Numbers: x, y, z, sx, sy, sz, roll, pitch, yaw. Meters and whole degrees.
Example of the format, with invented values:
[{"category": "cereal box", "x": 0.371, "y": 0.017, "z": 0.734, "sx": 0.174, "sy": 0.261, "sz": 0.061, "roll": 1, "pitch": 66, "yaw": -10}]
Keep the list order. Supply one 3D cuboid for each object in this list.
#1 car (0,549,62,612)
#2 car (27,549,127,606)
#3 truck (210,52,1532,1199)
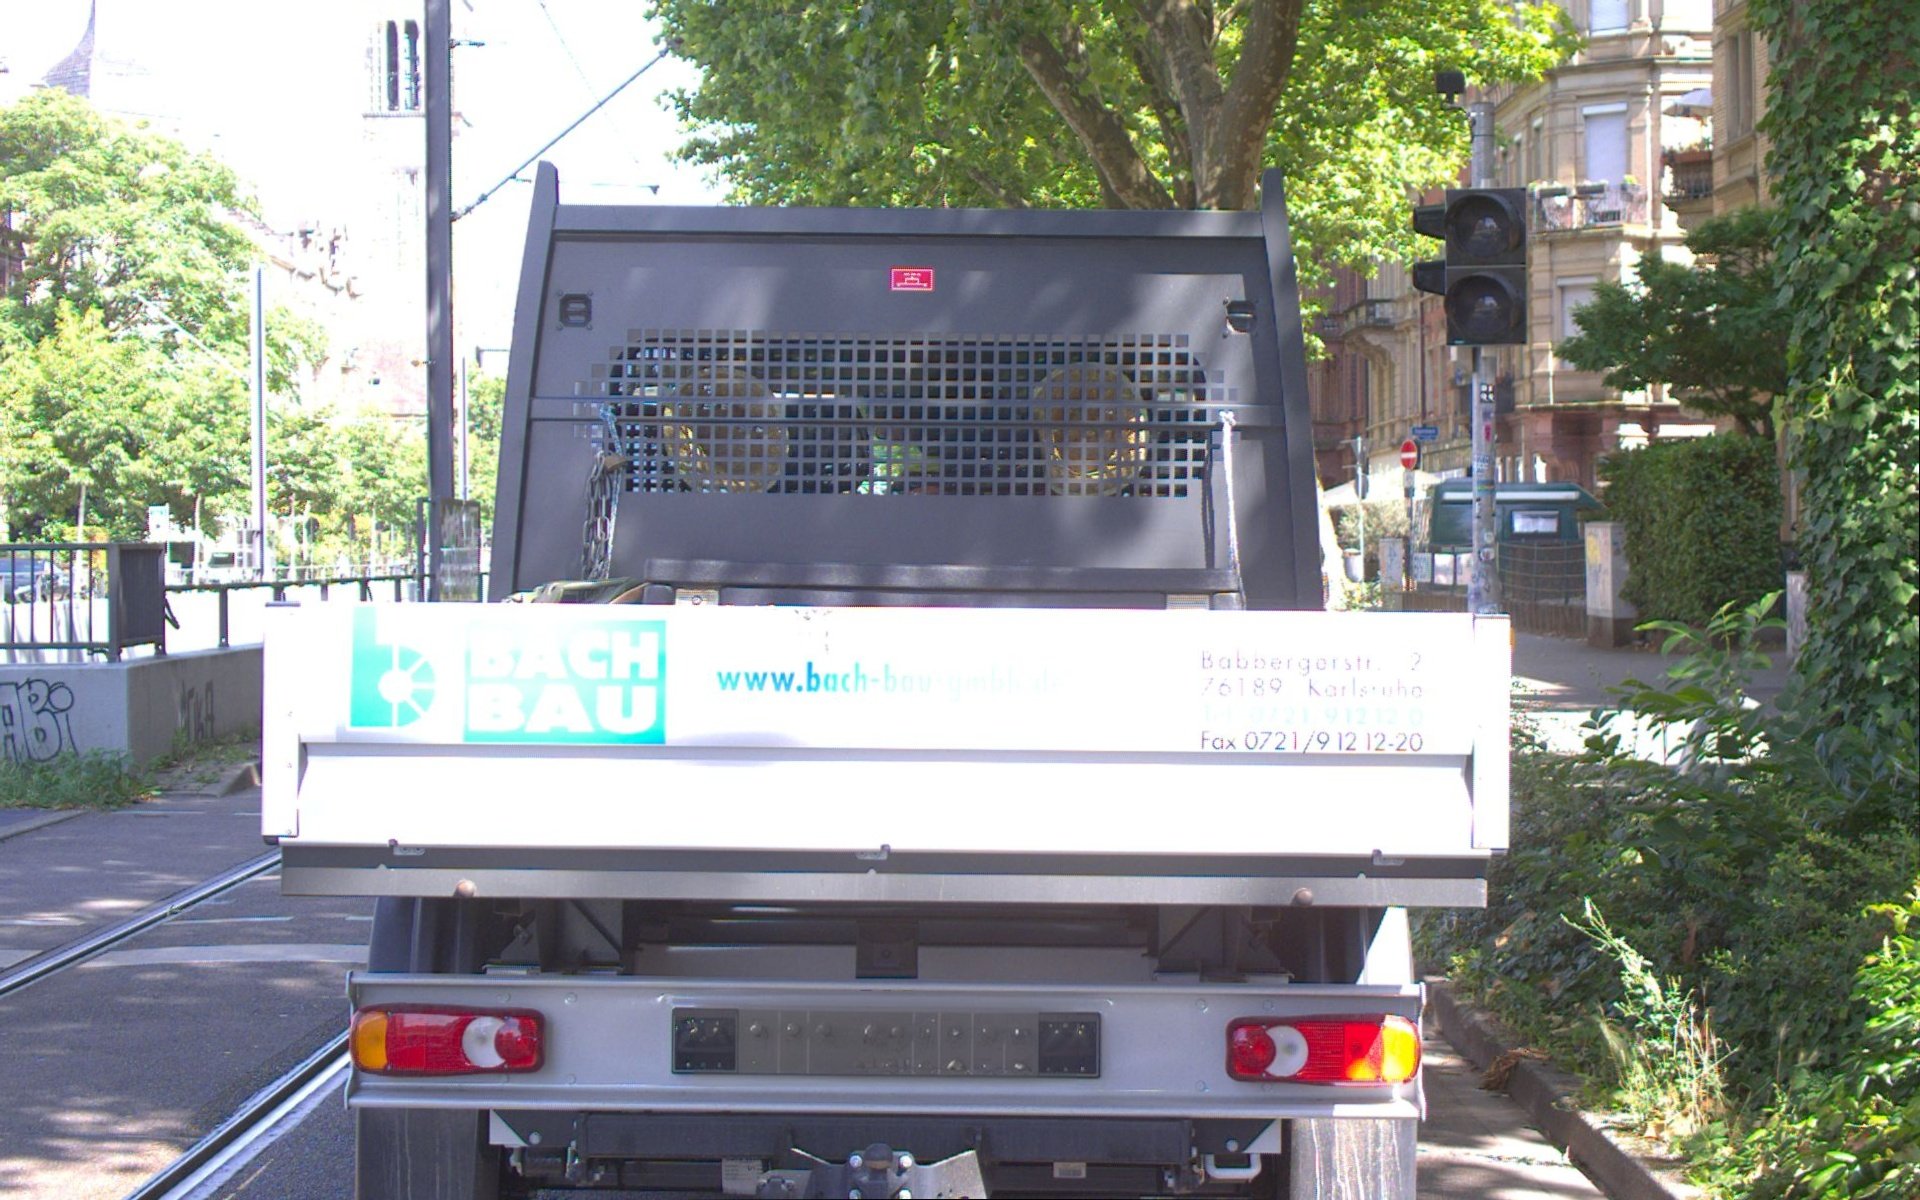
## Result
[{"category": "car", "x": -23.437, "y": -0.492, "z": 84.571, "sx": 1.770, "sy": 1.493, "sz": 4.000, "roll": 0, "pitch": 1, "yaw": -2}, {"category": "car", "x": -23.698, "y": -0.613, "z": 92.408, "sx": 1.770, "sy": 1.493, "sz": 4.000, "roll": 0, "pitch": 1, "yaw": -2}, {"category": "truck", "x": -0.138, "y": 0.235, "z": 7.789, "sx": 2.138, "sy": 2.311, "sz": 4.401, "roll": 0, "pitch": 1, "yaw": 0}]
